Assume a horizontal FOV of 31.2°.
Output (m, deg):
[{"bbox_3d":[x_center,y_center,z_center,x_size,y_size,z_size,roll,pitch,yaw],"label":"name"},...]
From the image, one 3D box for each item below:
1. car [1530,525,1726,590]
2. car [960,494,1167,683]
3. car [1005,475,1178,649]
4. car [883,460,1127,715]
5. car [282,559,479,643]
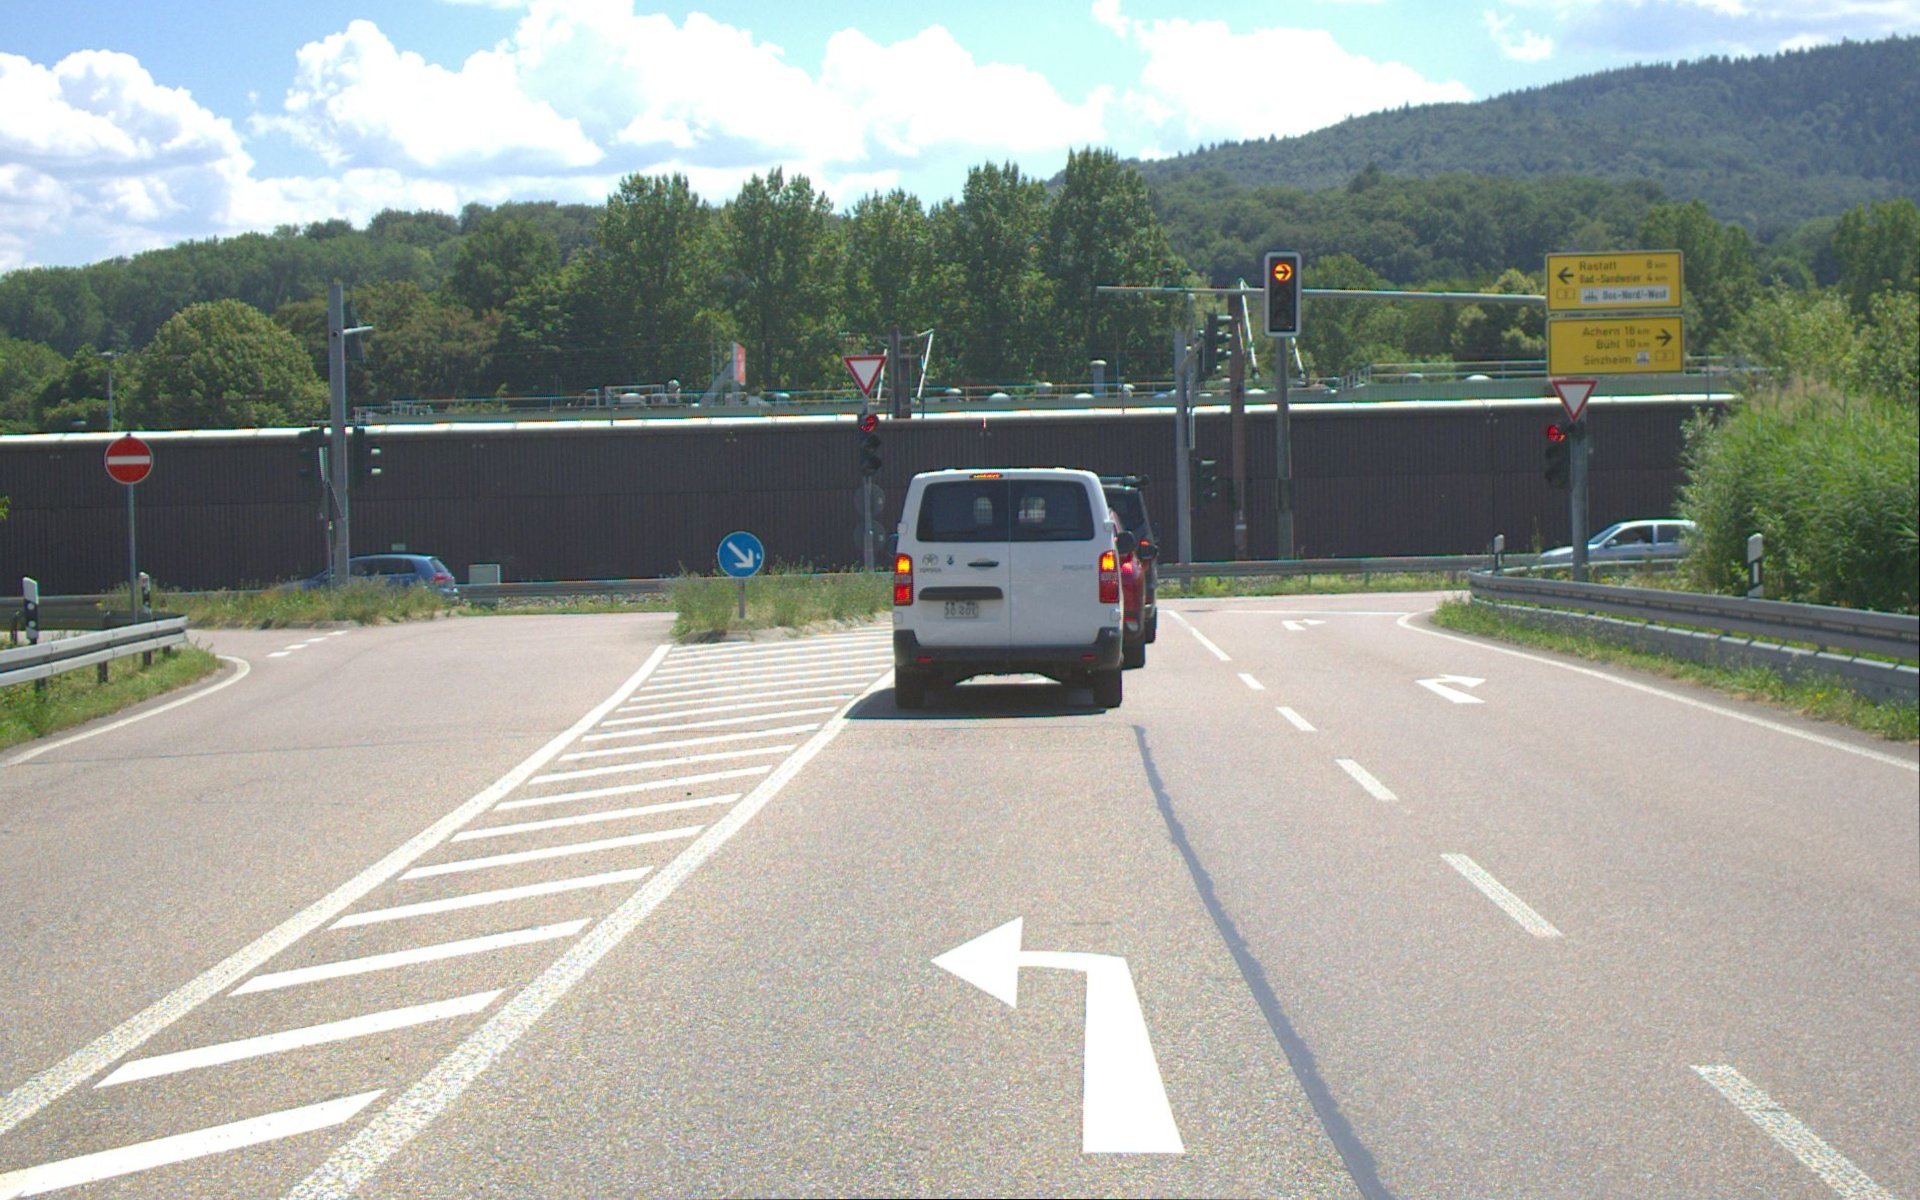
[{"bbox_3d":[14.675,-0.936,75.673,3.987,1.345,1.849,0,3,2],"label":"car"},{"bbox_3d":[1.105,-0.149,36.444,1.993,1.806,4.000,-3,1,2],"label":"car"},{"bbox_3d":[1.653,-0.494,43.557,1.993,2.006,4.000,-3,1,2],"label":"car"},{"bbox_3d":[0.398,-0.134,28.607,1.870,1.958,4.000,-1,1,2],"label":"car"},{"bbox_3d":[-12.809,0.009,76.112,3.987,1.763,2.000,-1,1,1],"label":"car"}]
